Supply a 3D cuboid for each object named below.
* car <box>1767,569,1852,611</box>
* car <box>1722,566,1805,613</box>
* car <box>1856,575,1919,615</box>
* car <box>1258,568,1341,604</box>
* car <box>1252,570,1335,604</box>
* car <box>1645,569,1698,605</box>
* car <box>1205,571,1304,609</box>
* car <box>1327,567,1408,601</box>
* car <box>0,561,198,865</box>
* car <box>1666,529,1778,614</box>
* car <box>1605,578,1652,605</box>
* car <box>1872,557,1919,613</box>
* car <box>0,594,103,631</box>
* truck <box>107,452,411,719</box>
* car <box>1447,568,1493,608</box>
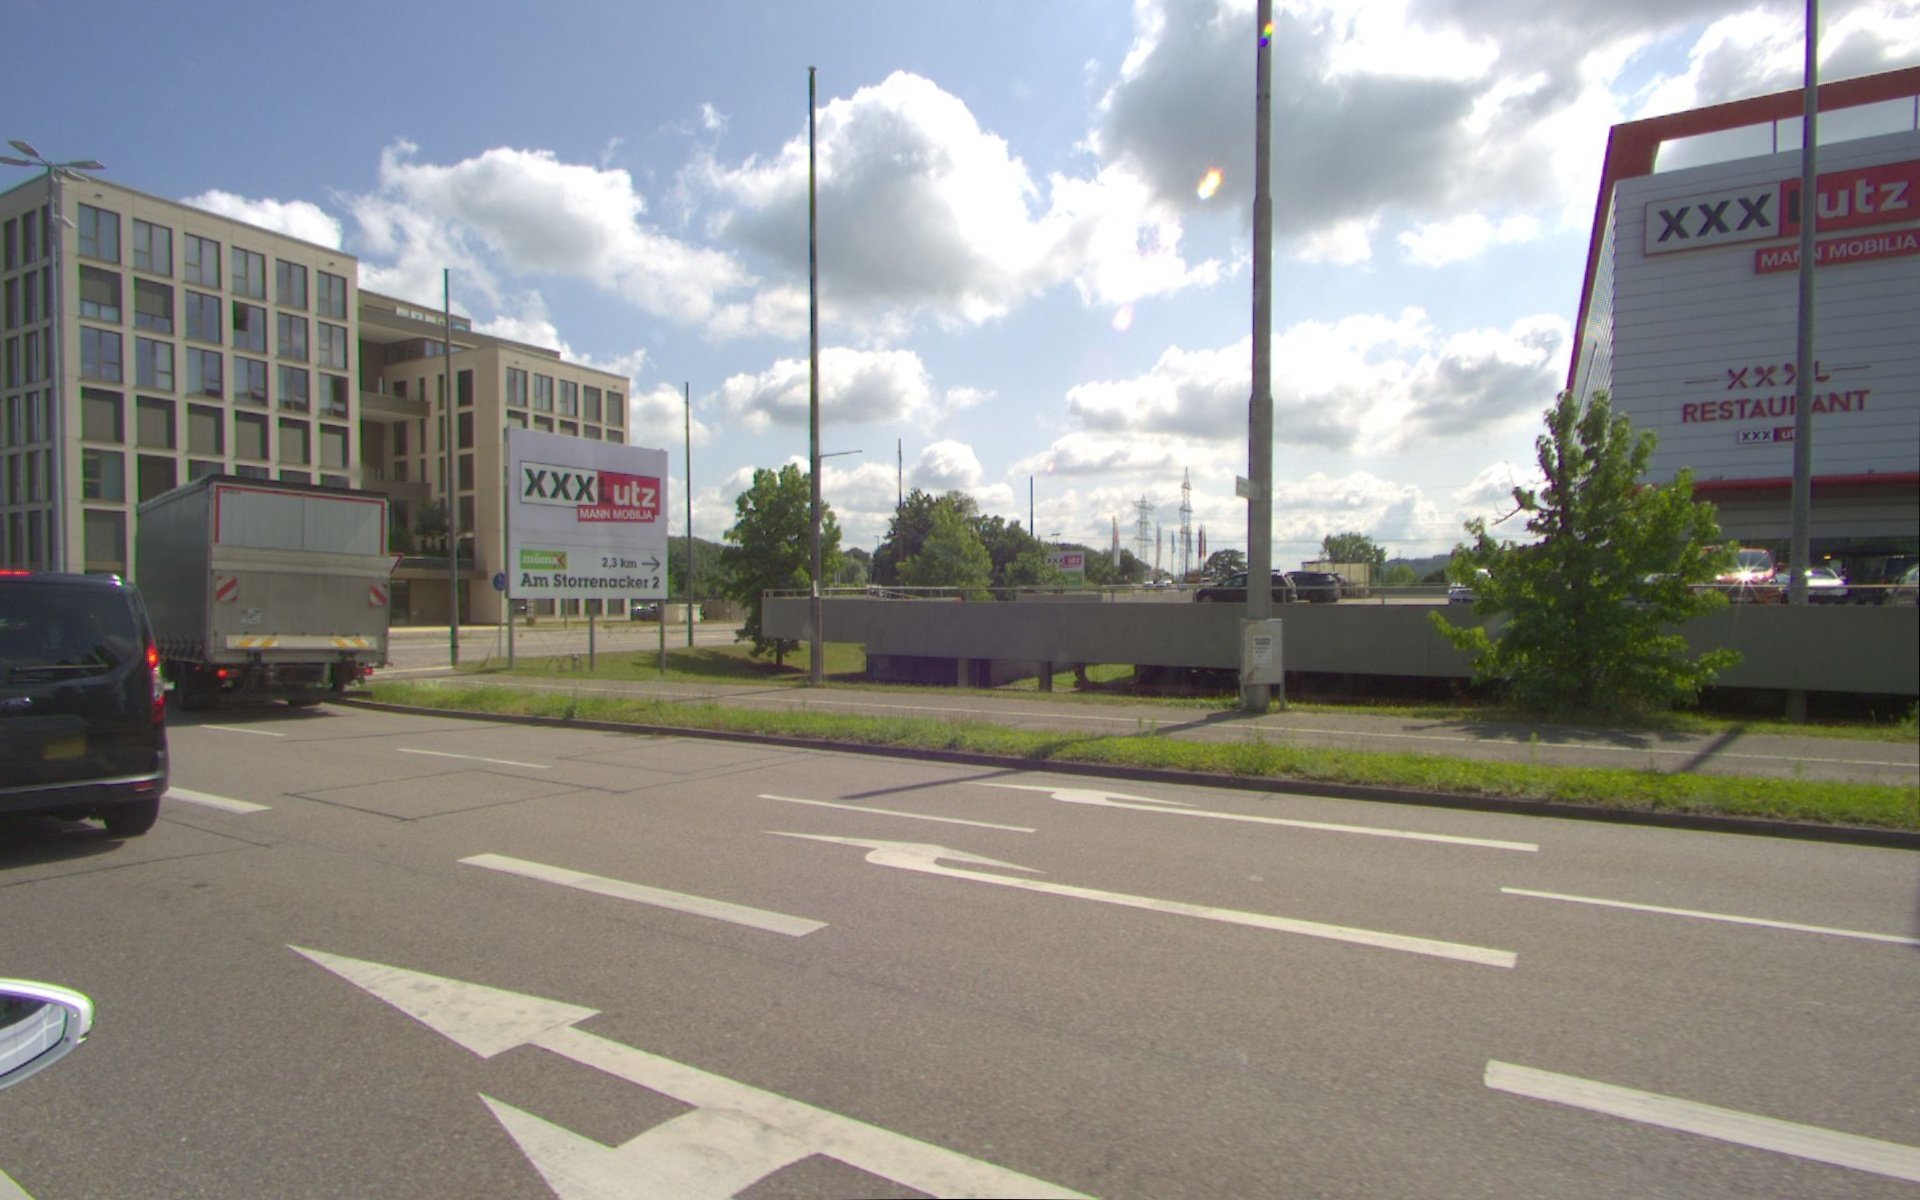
[{"bbox_3d":[34.501,-0.386,40.764,1.970,1.563,3.981,1,-1,31],"label":"car"},{"bbox_3d":[29.416,-0.331,36.766,1.609,1.596,3.894,1,-1,28],"label":"car"},{"bbox_3d":[36.458,-0.171,39.058,1.561,1.484,3.521,1,-1,31],"label":"car"},{"bbox_3d":[18.129,-0.734,53.424,3.937,1.750,1.959,1,-3,28],"label":"car"},{"bbox_3d":[17.080,-0.661,51.338,3.806,1.622,1.742,1,0,27],"label":"car"},{"bbox_3d":[30.593,-0.541,43.128,1.561,1.429,3.521,1,-1,31],"label":"car"},{"bbox_3d":[12.700,-0.420,43.150,3.806,1.541,1.869,1,0,27],"label":"car"},{"bbox_3d":[22.173,-0.851,54.487,3.937,1.751,1.993,1,0,28],"label":"car"},{"bbox_3d":[-7.344,0.697,7.247,3.946,1.832,1.815,0,-2,36],"label":"car"},{"bbox_3d":[22.736,-0.733,30.077,1.957,2.223,5.156,0,-2,30],"label":"car"},{"bbox_3d":[31.589,-0.381,47.396,1.670,1.199,3.890,1,-1,32],"label":"car"},{"bbox_3d":[27.393,-0.408,27.771,1.956,1.473,4.864,-1,-1,28],"label":"car"},{"bbox_3d":[-42.785,0.560,45.888,1.970,1.628,4.978,1,-1,30],"label":"car"},{"bbox_3d":[-13.700,-0.194,19.169,8.762,3.992,3.112,0,0,44],"label":"truck"},{"bbox_3d":[21.896,-0.487,43.098,1.608,1.596,3.897,1,-1,25],"label":"car"}]
